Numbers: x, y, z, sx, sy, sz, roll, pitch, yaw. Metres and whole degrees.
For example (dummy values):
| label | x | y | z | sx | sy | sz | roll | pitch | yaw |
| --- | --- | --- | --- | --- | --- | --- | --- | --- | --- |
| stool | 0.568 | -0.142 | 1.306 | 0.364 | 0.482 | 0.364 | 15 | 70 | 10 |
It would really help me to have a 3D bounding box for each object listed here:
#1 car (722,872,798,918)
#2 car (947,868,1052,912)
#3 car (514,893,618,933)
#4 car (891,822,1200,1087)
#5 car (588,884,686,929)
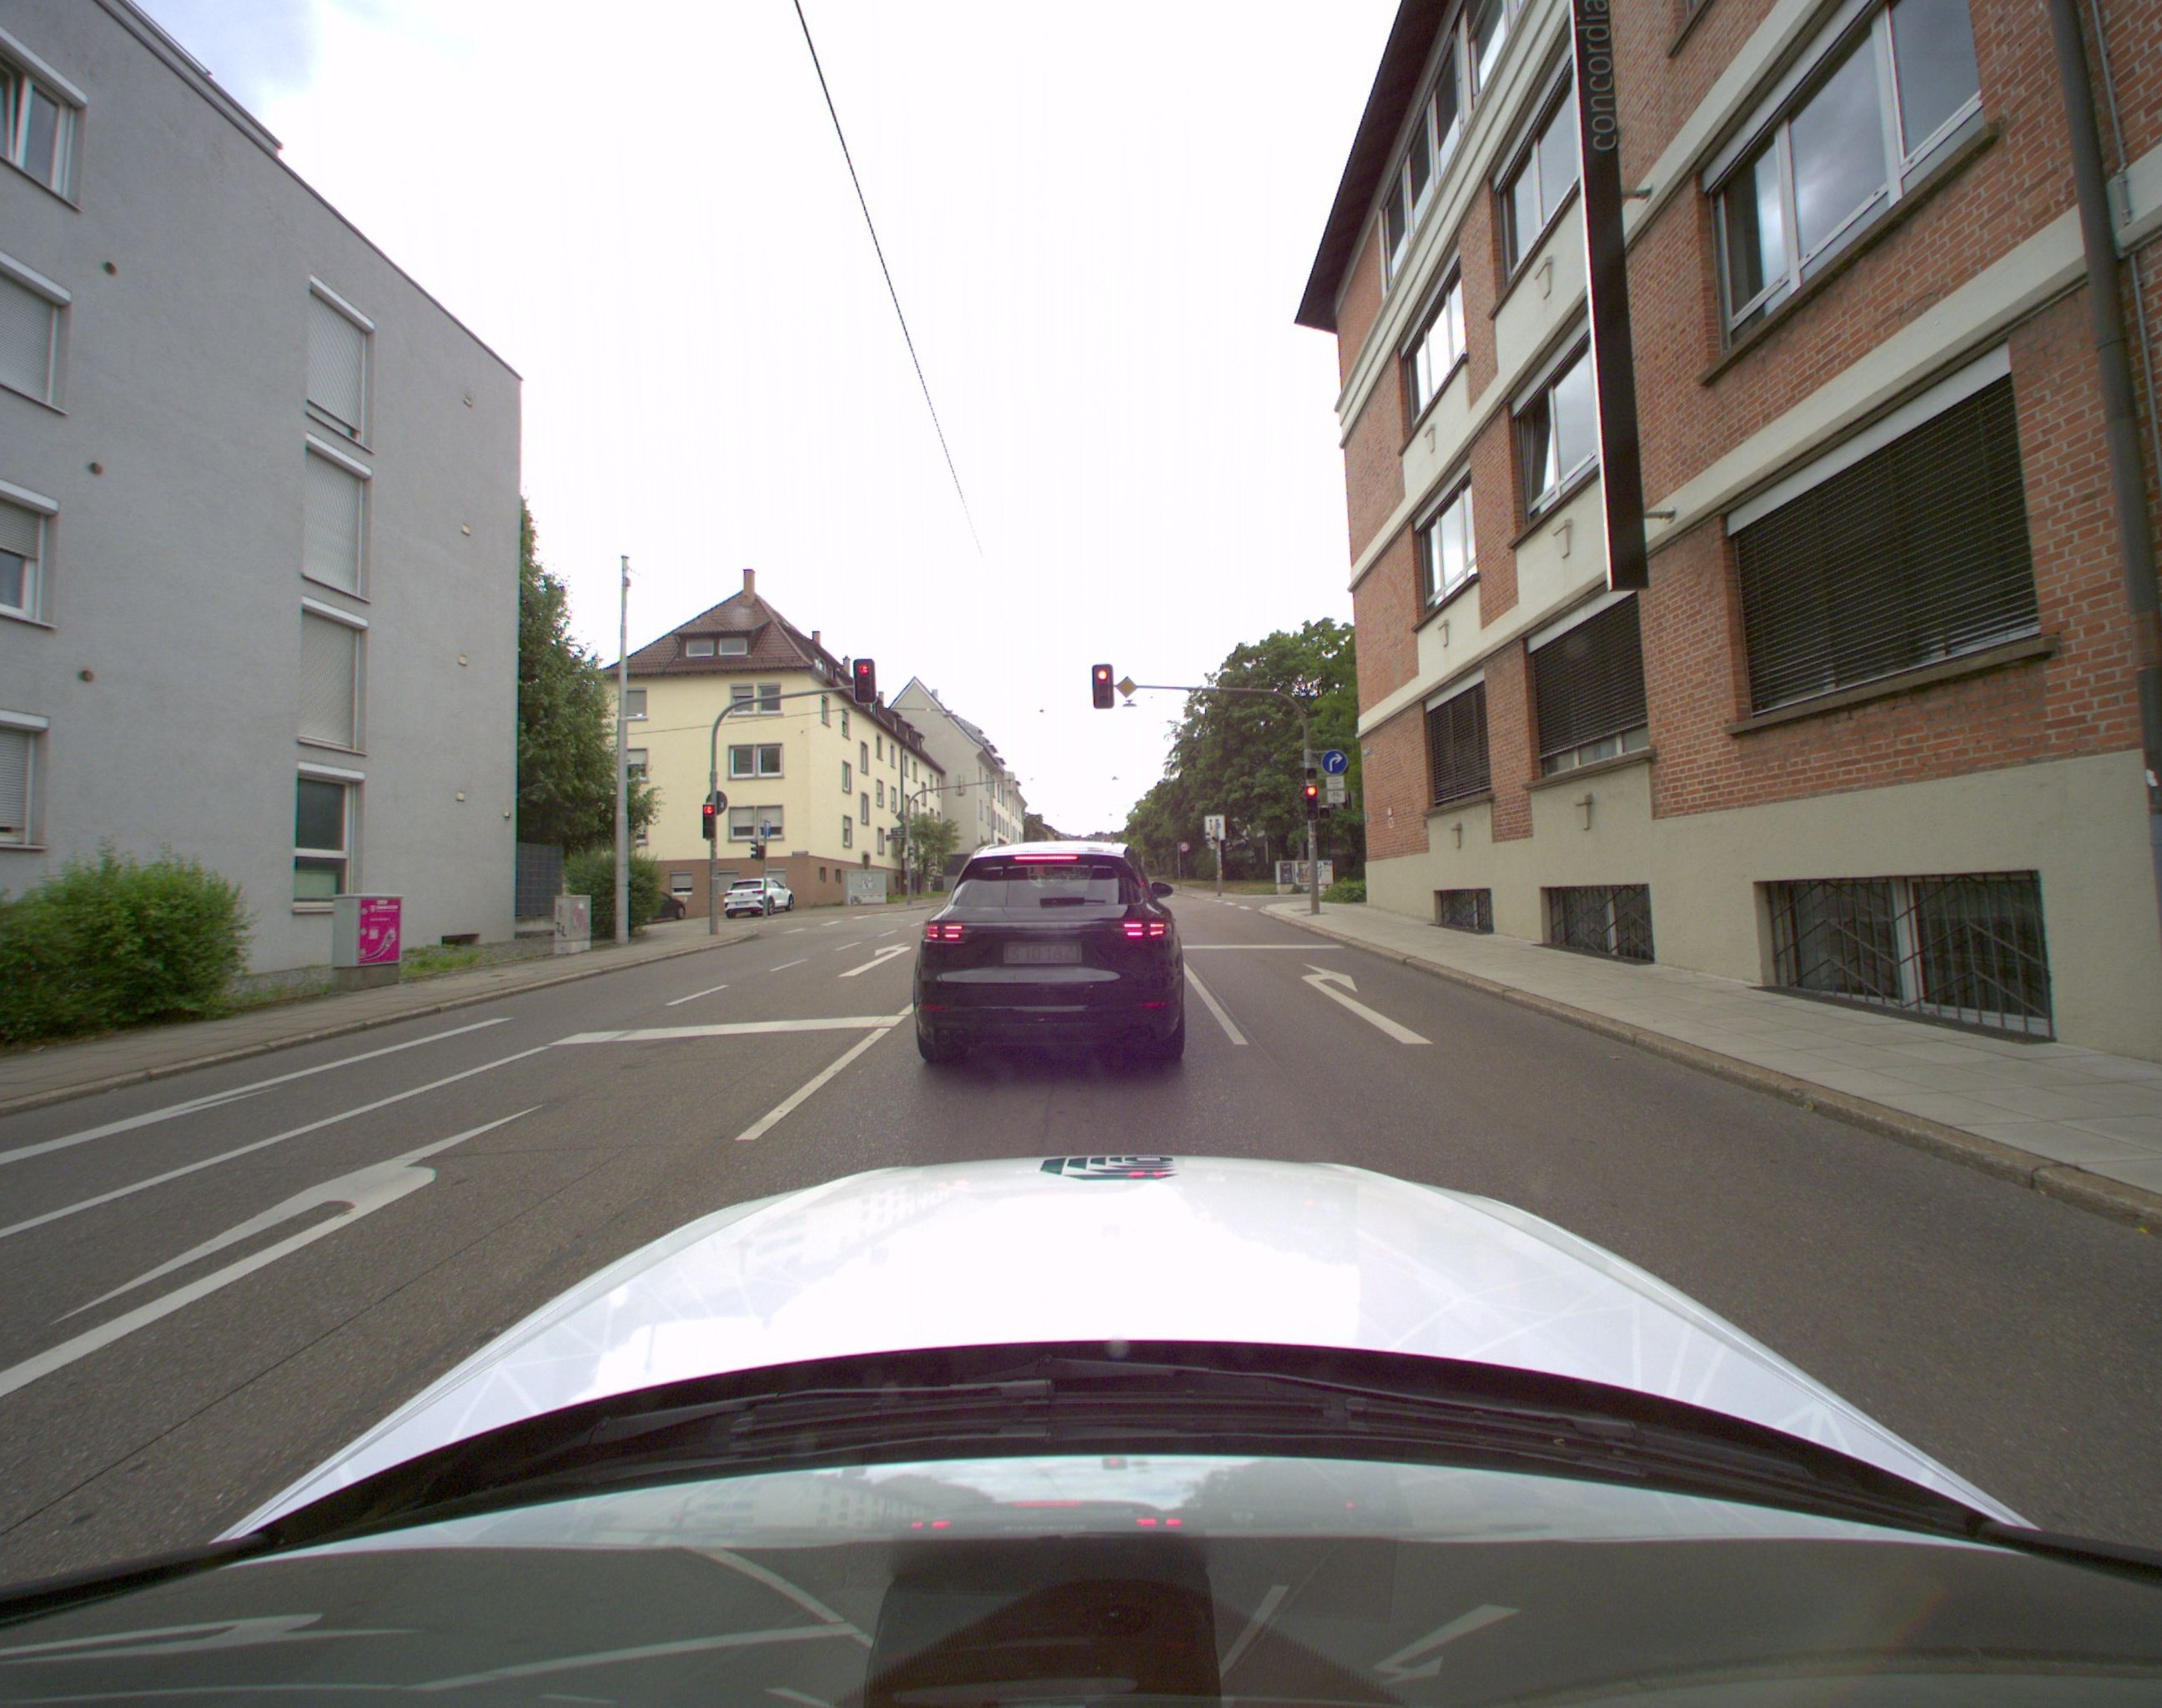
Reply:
| label | x | y | z | sx | sy | sz | roll | pitch | yaw |
| --- | --- | --- | --- | --- | --- | --- | --- | --- | --- |
| car | -13.500 | 1.684 | 34.477 | 1.666 | 1.662 | 3.996 | -4 | 0 | -3 |
| car | -3.094 | 1.328 | 31.532 | 1.672 | 1.552 | 3.912 | -1 | -1 | 43 |
| car | -21.417 | 2.423 | 34.073 | 1.663 | 1.362 | 4.001 | -1 | -1 | 2 |
| car | -0.170 | 0.668 | 7.263 | 1.986 | 1.697 | 4.001 | 0 | -1 | 2 |
| car | -18.593 | 2.157 | 34.307 | 1.664 | 1.546 | 4.103 | -5 | -1 | 2 |
